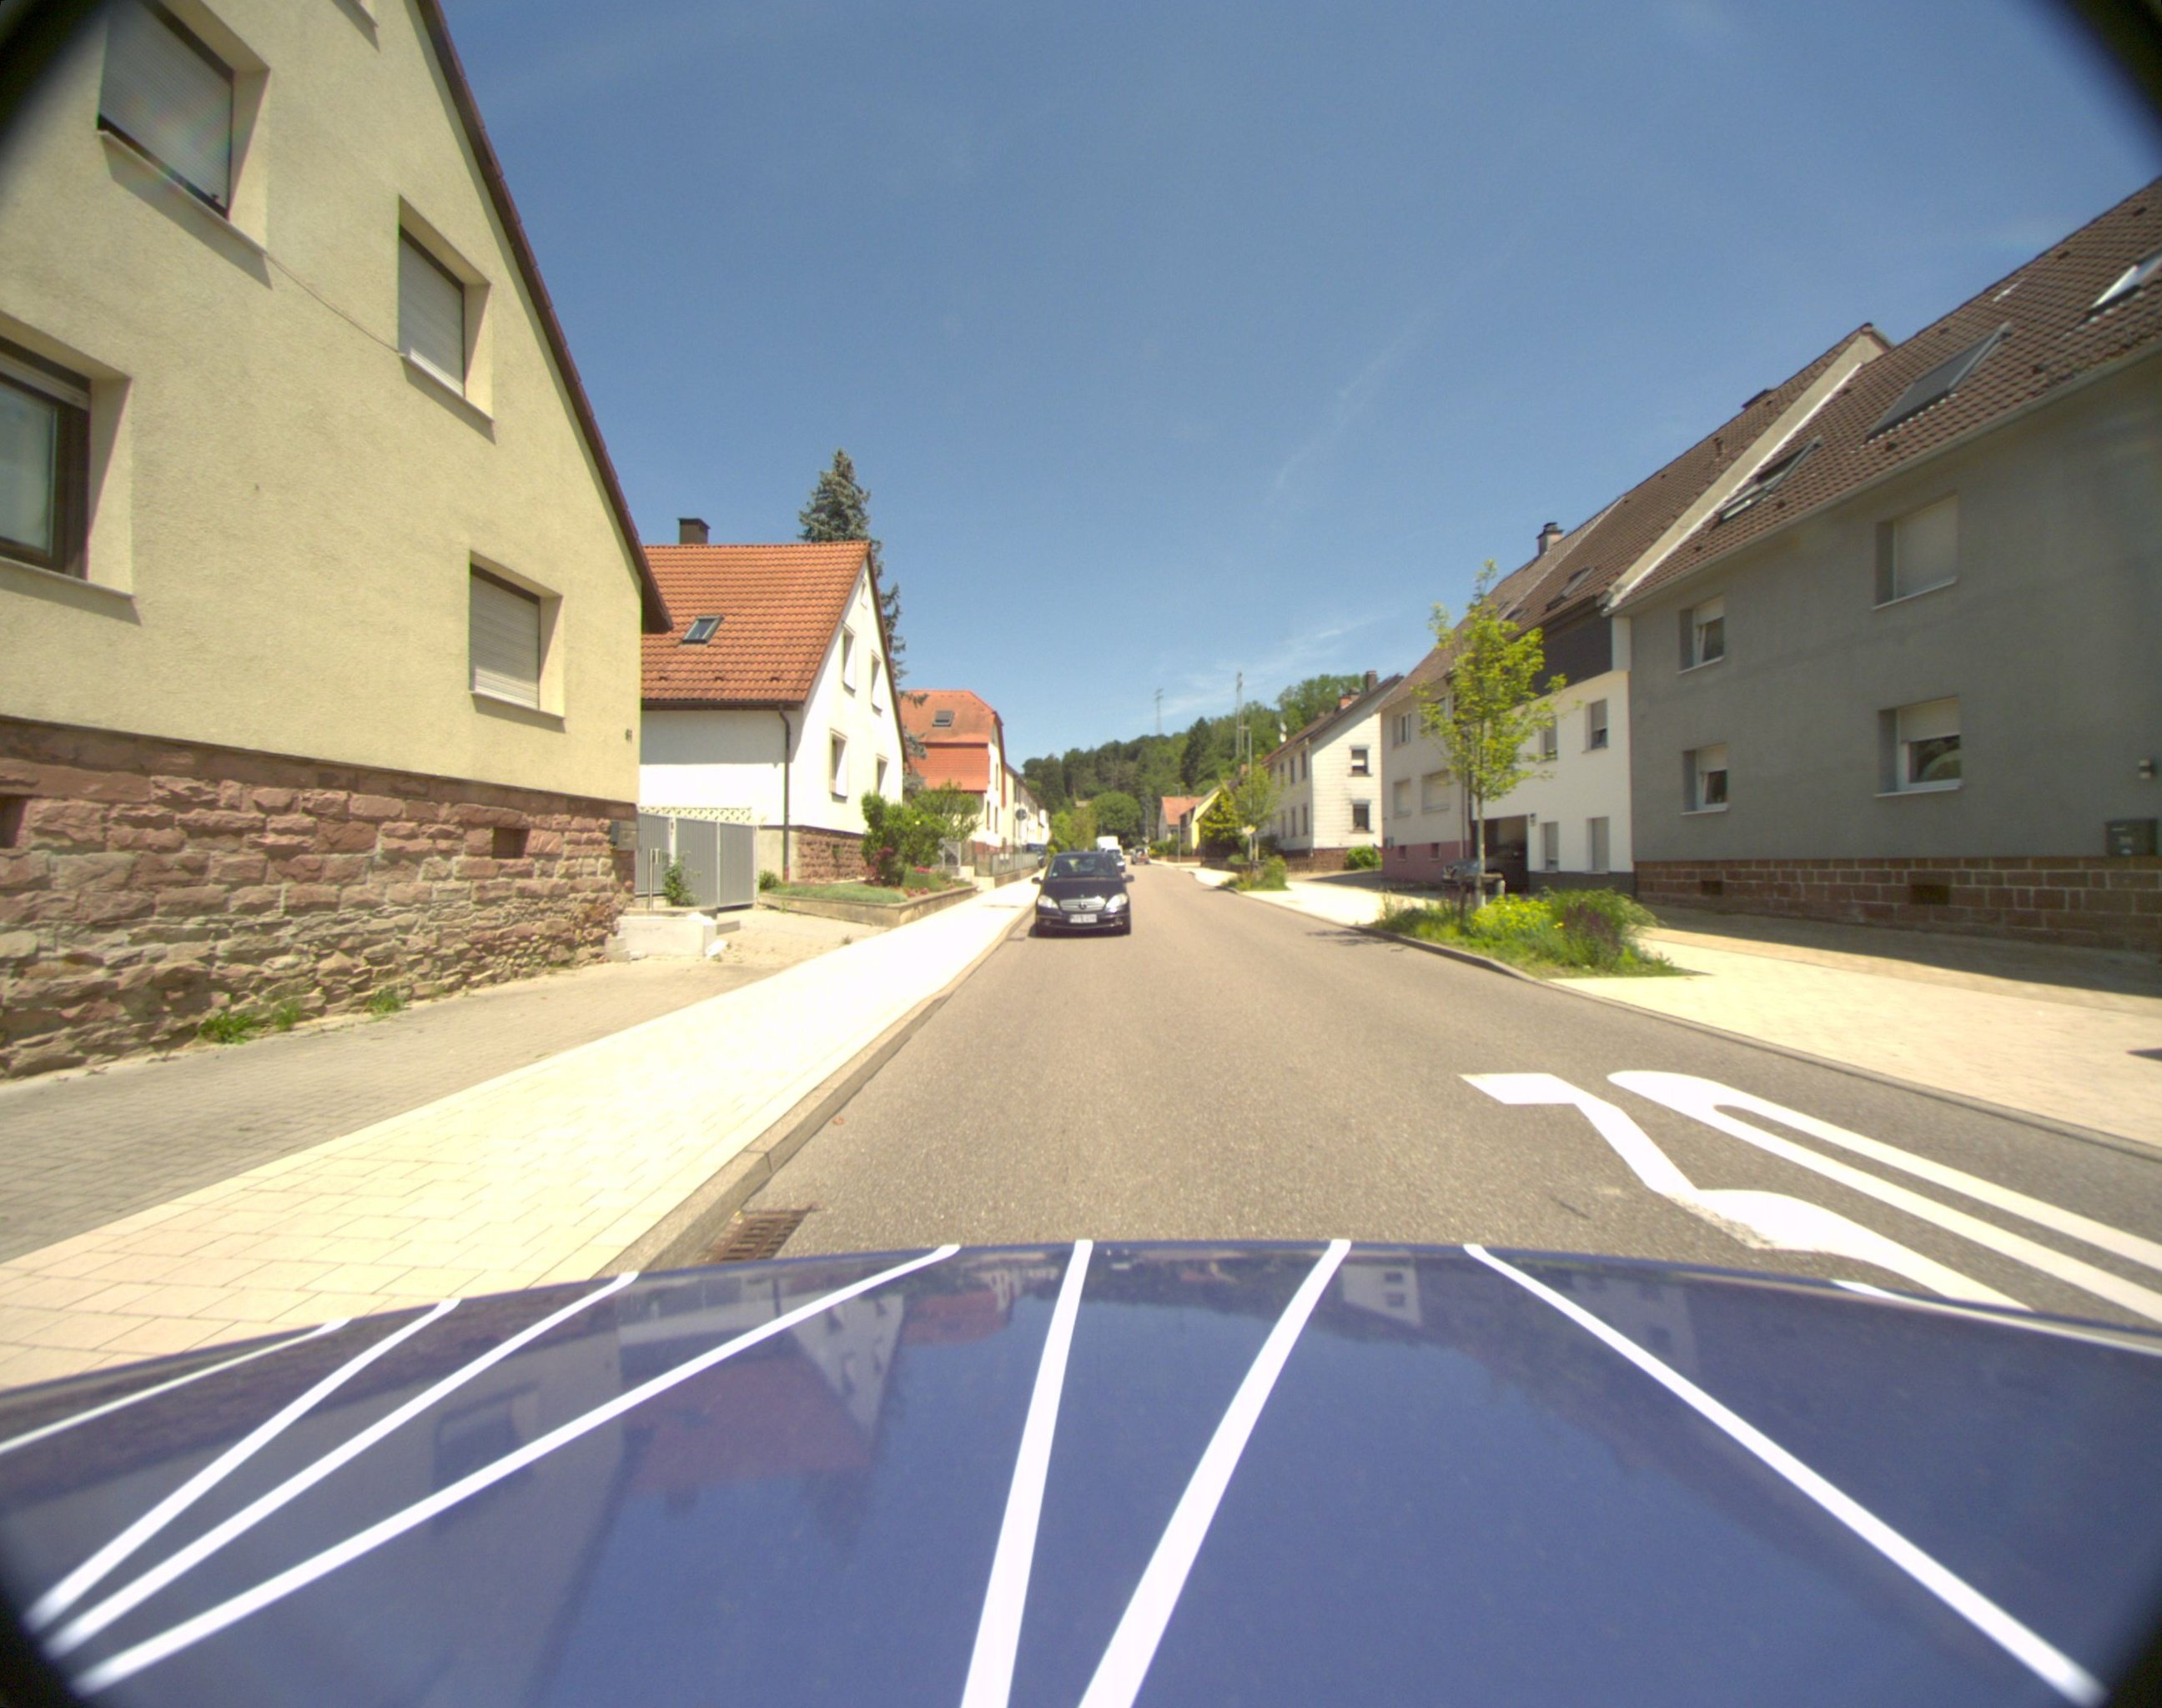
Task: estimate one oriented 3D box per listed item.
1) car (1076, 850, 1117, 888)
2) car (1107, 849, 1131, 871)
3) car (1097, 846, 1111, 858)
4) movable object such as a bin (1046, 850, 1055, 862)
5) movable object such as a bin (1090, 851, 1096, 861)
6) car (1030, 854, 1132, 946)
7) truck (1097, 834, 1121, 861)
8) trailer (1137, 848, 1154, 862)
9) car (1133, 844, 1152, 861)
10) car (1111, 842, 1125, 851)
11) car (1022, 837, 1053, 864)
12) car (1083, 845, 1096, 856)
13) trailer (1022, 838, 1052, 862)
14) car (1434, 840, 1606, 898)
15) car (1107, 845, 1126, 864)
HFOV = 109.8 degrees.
[{"bbox_3d":[0.748,0.629,35.047,1.714,1.595,3.880,-2,0,3],"label":"car"},{"bbox_3d":[2.957,0.446,58.689,1.714,1.595,3.880,-2,0,3],"label":"car"},{"bbox_3d":[3.738,-0.372,122.603,1.998,1.805,4.000,-2,0,3],"label":"car"},{"bbox_3d":[-3.074,0.224,76.372,0.685,1.109,0.812,3,2,7],"label":"movable object such as a bin"},{"bbox_3d":[1.582,0.275,100.406,0.794,1.387,0.925,-2,1,-1],"label":"movable object such as a bin"},{"bbox_3d":[0.109,0.820,15.589,1.790,1.595,4.076,-1,0,3],"label":"car"},{"bbox_3d":[3.831,-0.924,102.616,2.805,3.394,8.121,-2,0,4],"label":"truck"},{"bbox_3d":[6.962,0.095,82.458,1.578,1.388,4.403,-1,1,3],"label":"trailer"},{"bbox_3d":[7.019,-0.189,86.753,1.894,1.850,4.578,-2,1,2],"label":"car"},{"bbox_3d":[7.863,-1.643,162.752,1.706,1.938,3.993,-2,1,-17],"label":"car"},{"bbox_3d":[-3.504,-0.274,61.943,1.856,1.959,4.773,6,1,2],"label":"car"},{"bbox_3d":[1.282,-0.565,121.406,1.860,1.832,4.669,0,1,-2],"label":"car"},{"bbox_3d":[-3.875,-0.356,67.074,1.320,2.002,2.278,0,1,44],"label":"trailer"},{"bbox_3d":[12.794,0.419,22.328,3.996,1.536,1.832,-1,1,2],"label":"car"},{"bbox_3d":[3.680,0.029,79.401,1.968,1.823,4.465,0,1,2],"label":"car"}]
